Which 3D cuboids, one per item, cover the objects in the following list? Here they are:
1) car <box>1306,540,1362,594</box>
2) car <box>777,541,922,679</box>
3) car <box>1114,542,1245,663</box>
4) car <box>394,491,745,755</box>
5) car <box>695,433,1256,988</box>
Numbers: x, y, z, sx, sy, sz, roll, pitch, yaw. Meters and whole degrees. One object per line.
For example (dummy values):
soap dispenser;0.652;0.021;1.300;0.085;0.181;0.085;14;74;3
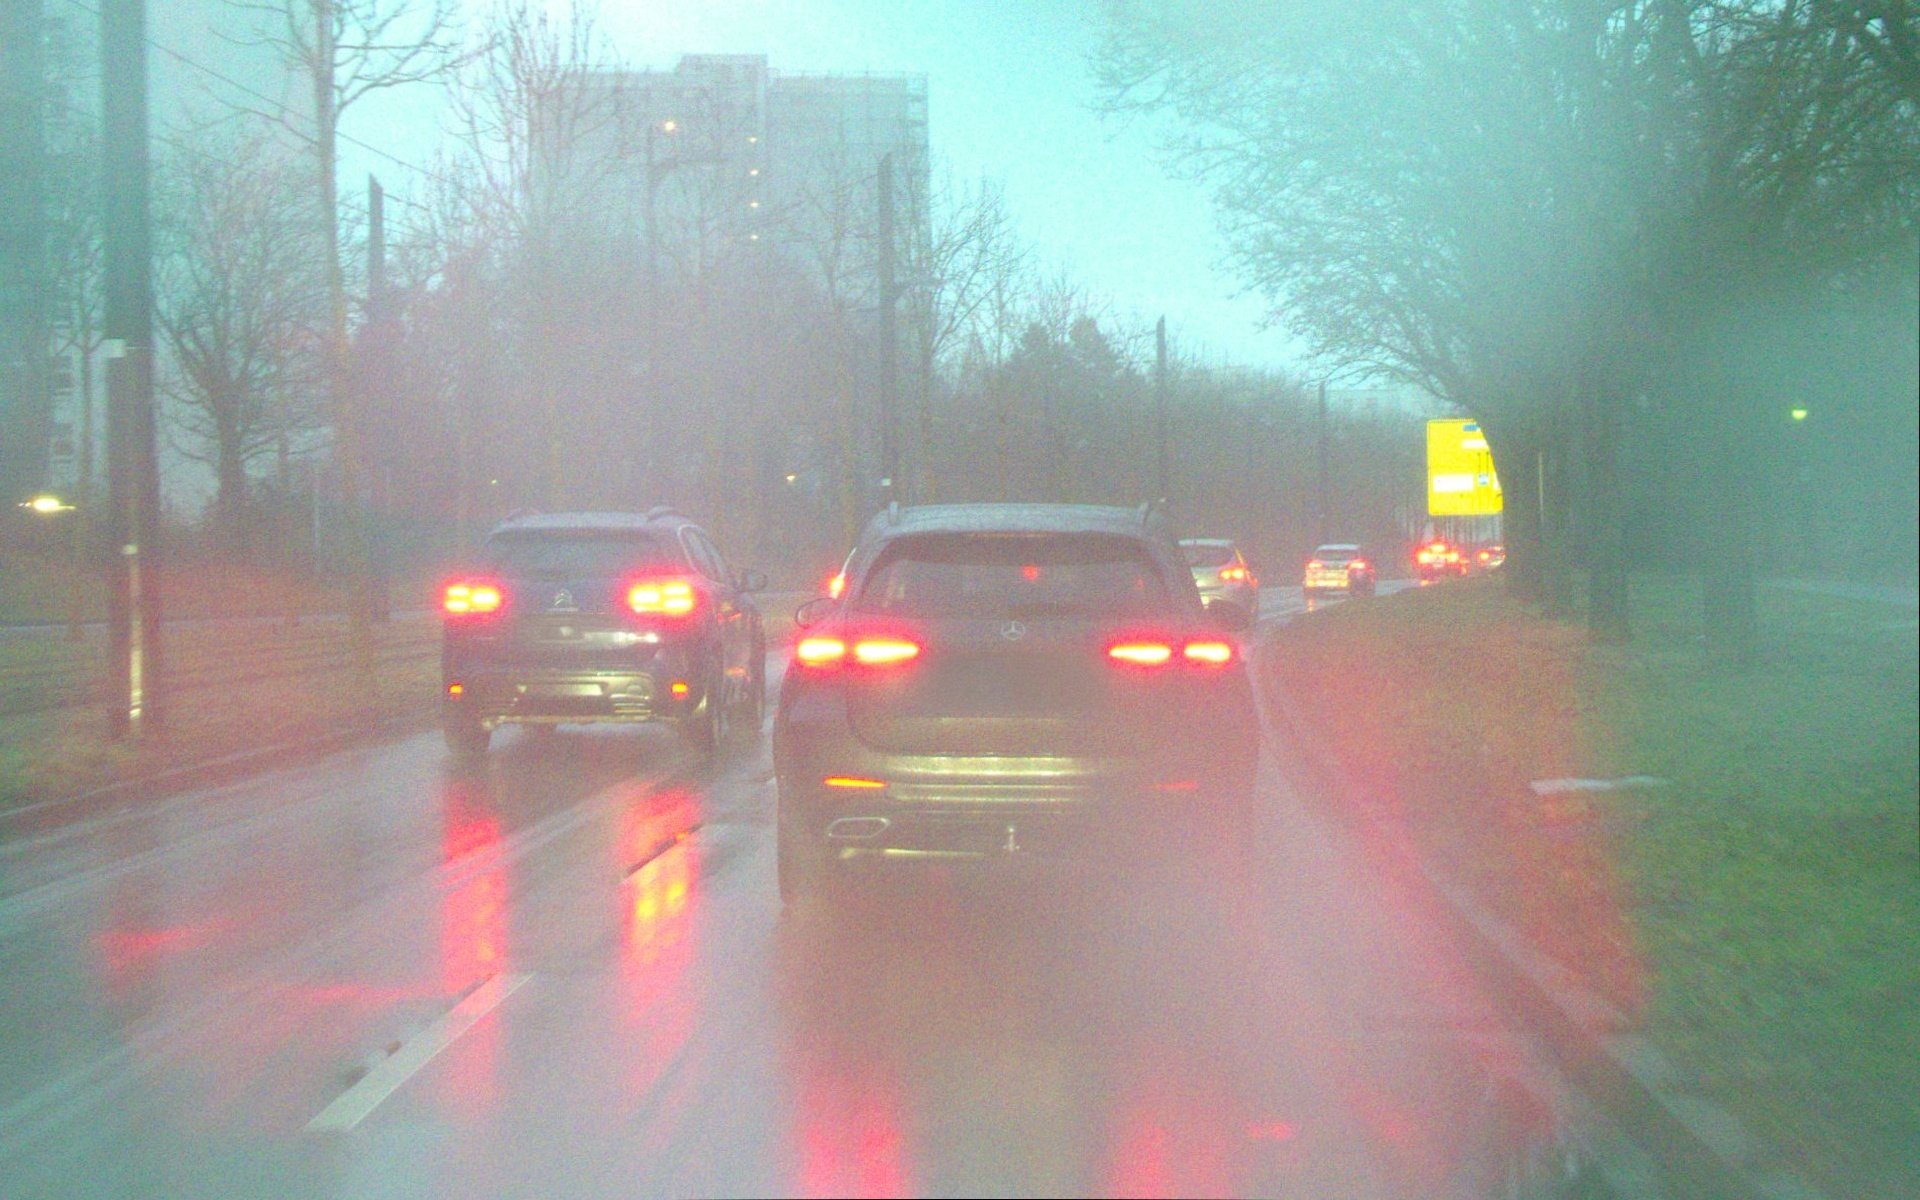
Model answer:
car;10.742;-0.939;98.874;1.535;1.508;3.342;0;0;5
car;-1.417;0.095;45.377;1.827;1.733;3.806;0;1;-1
car;3.535;0.050;55.991;1.856;1.885;4.000;0;0;0
car;-2.676;0.160;24.552;1.993;1.706;4.324;0;0;0
car;0.075;0.404;14.325;1.993;1.969;4.068;0;0;1
